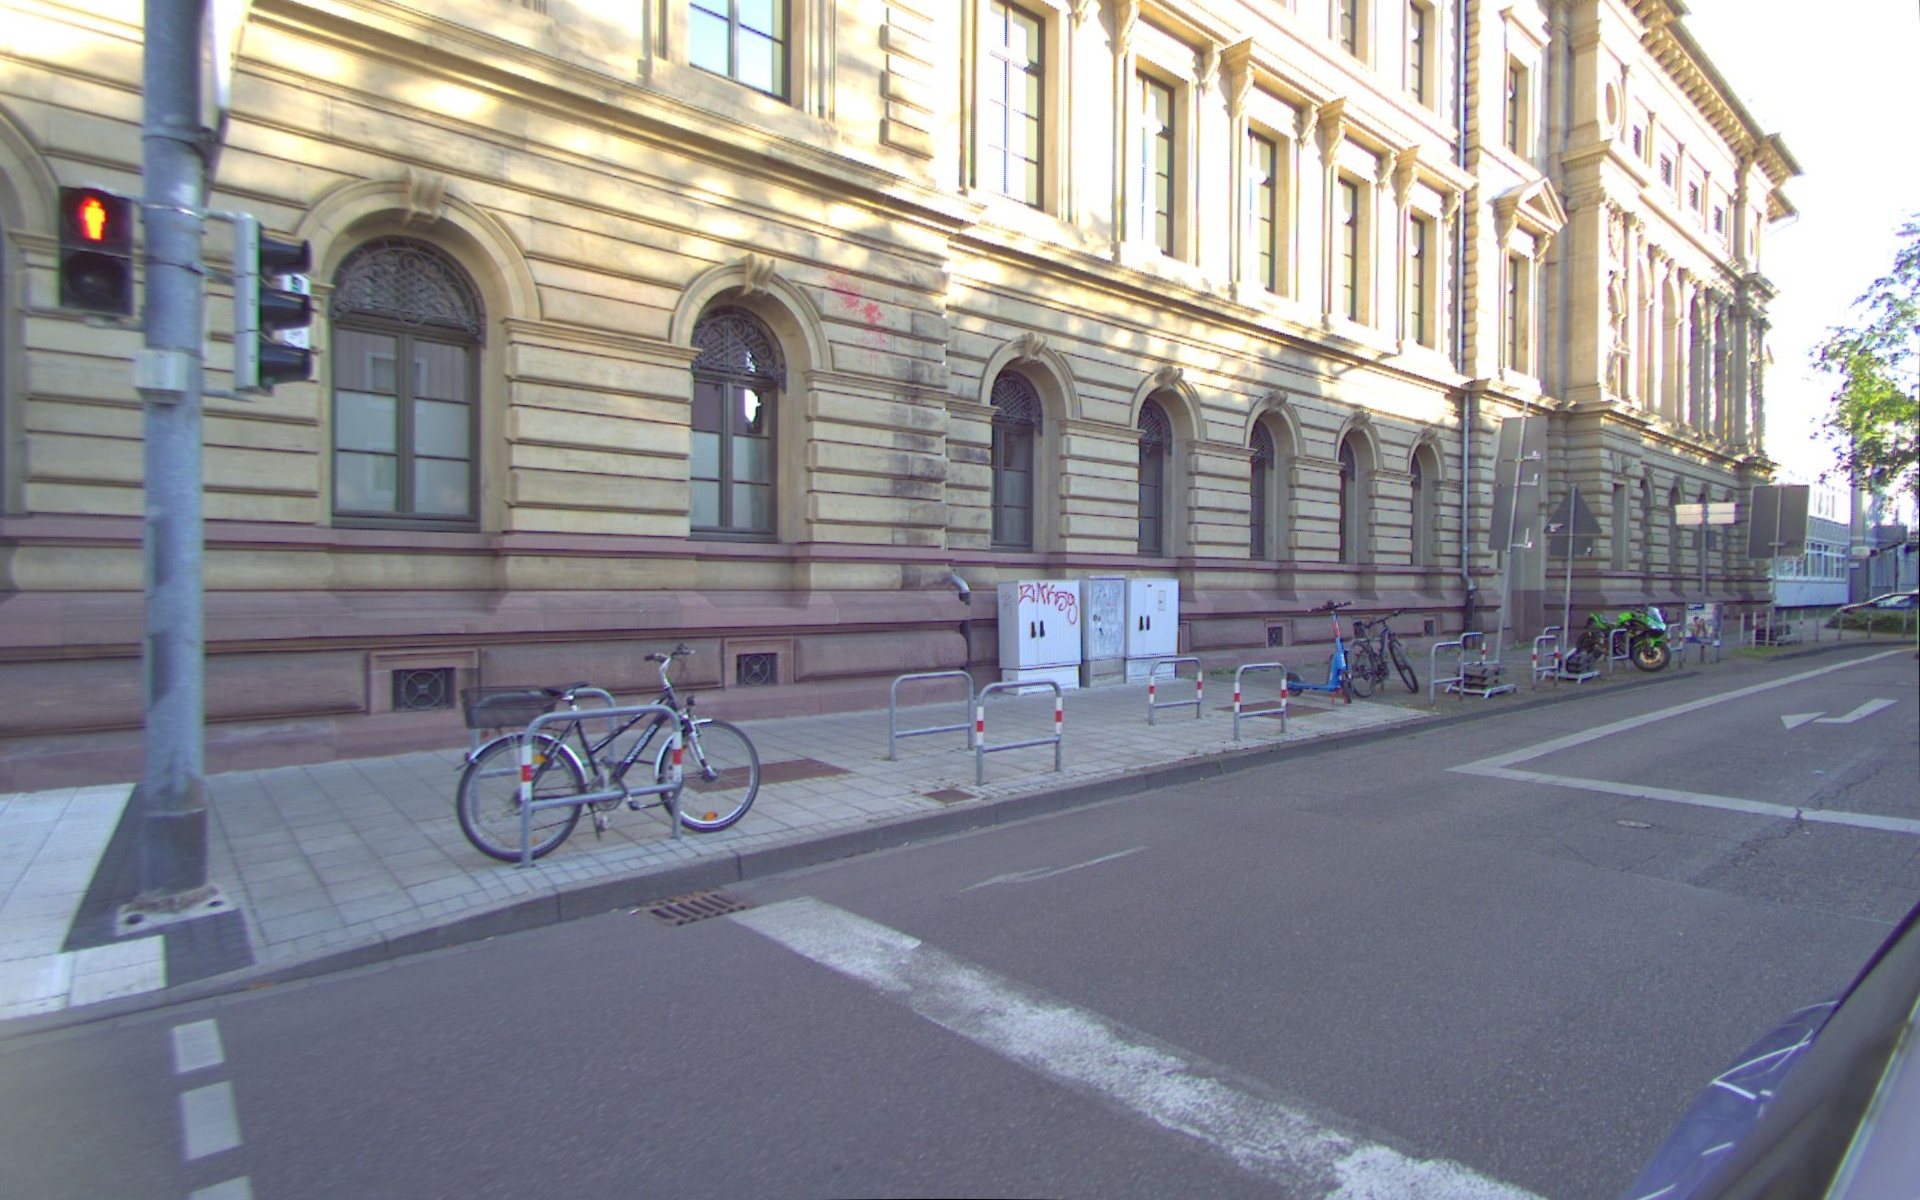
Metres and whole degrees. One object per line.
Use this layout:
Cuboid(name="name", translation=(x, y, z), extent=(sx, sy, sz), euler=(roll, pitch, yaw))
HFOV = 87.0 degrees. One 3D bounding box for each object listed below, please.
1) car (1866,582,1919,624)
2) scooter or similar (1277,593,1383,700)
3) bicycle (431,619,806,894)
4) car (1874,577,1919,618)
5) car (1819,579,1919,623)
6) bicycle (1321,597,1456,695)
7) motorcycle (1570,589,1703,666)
Cuboid(name="car", translation=(37.728, 0.171, 38.723), extent=(1.643, 1.513, 4.367), euler=(-1, 4, -40))
Cuboid(name="scooter or similar", translation=(4.546, 0.542, 12.504), extent=(0.572, 1.210, 1.136), euler=(0, 3, -22))
Cuboid(name="bicycle", translation=(-1.833, 0.763, 5.659), extent=(1.887, 1.203, 0.583), euler=(-3, 2, -41))
Cuboid(name="car", translation=(42.193, -0.053, 43.282), extent=(2.020, 1.662, 4.364), euler=(-1, 4, -43))
Cuboid(name="car", translation=(35.104, 0.045, 37.829), extent=(1.804, 1.482, 4.362), euler=(-1, 4, -44))
Cuboid(name="bicycle", translation=(5.670, 0.565, 13.353), extent=(1.910, 1.148, 0.829), euler=(0, 4, -41))
Cuboid(name="motorcycle", translation=(12.359, 0.466, 18.596), extent=(0.695, 1.229, 2.109), euler=(1, 3, -11))
